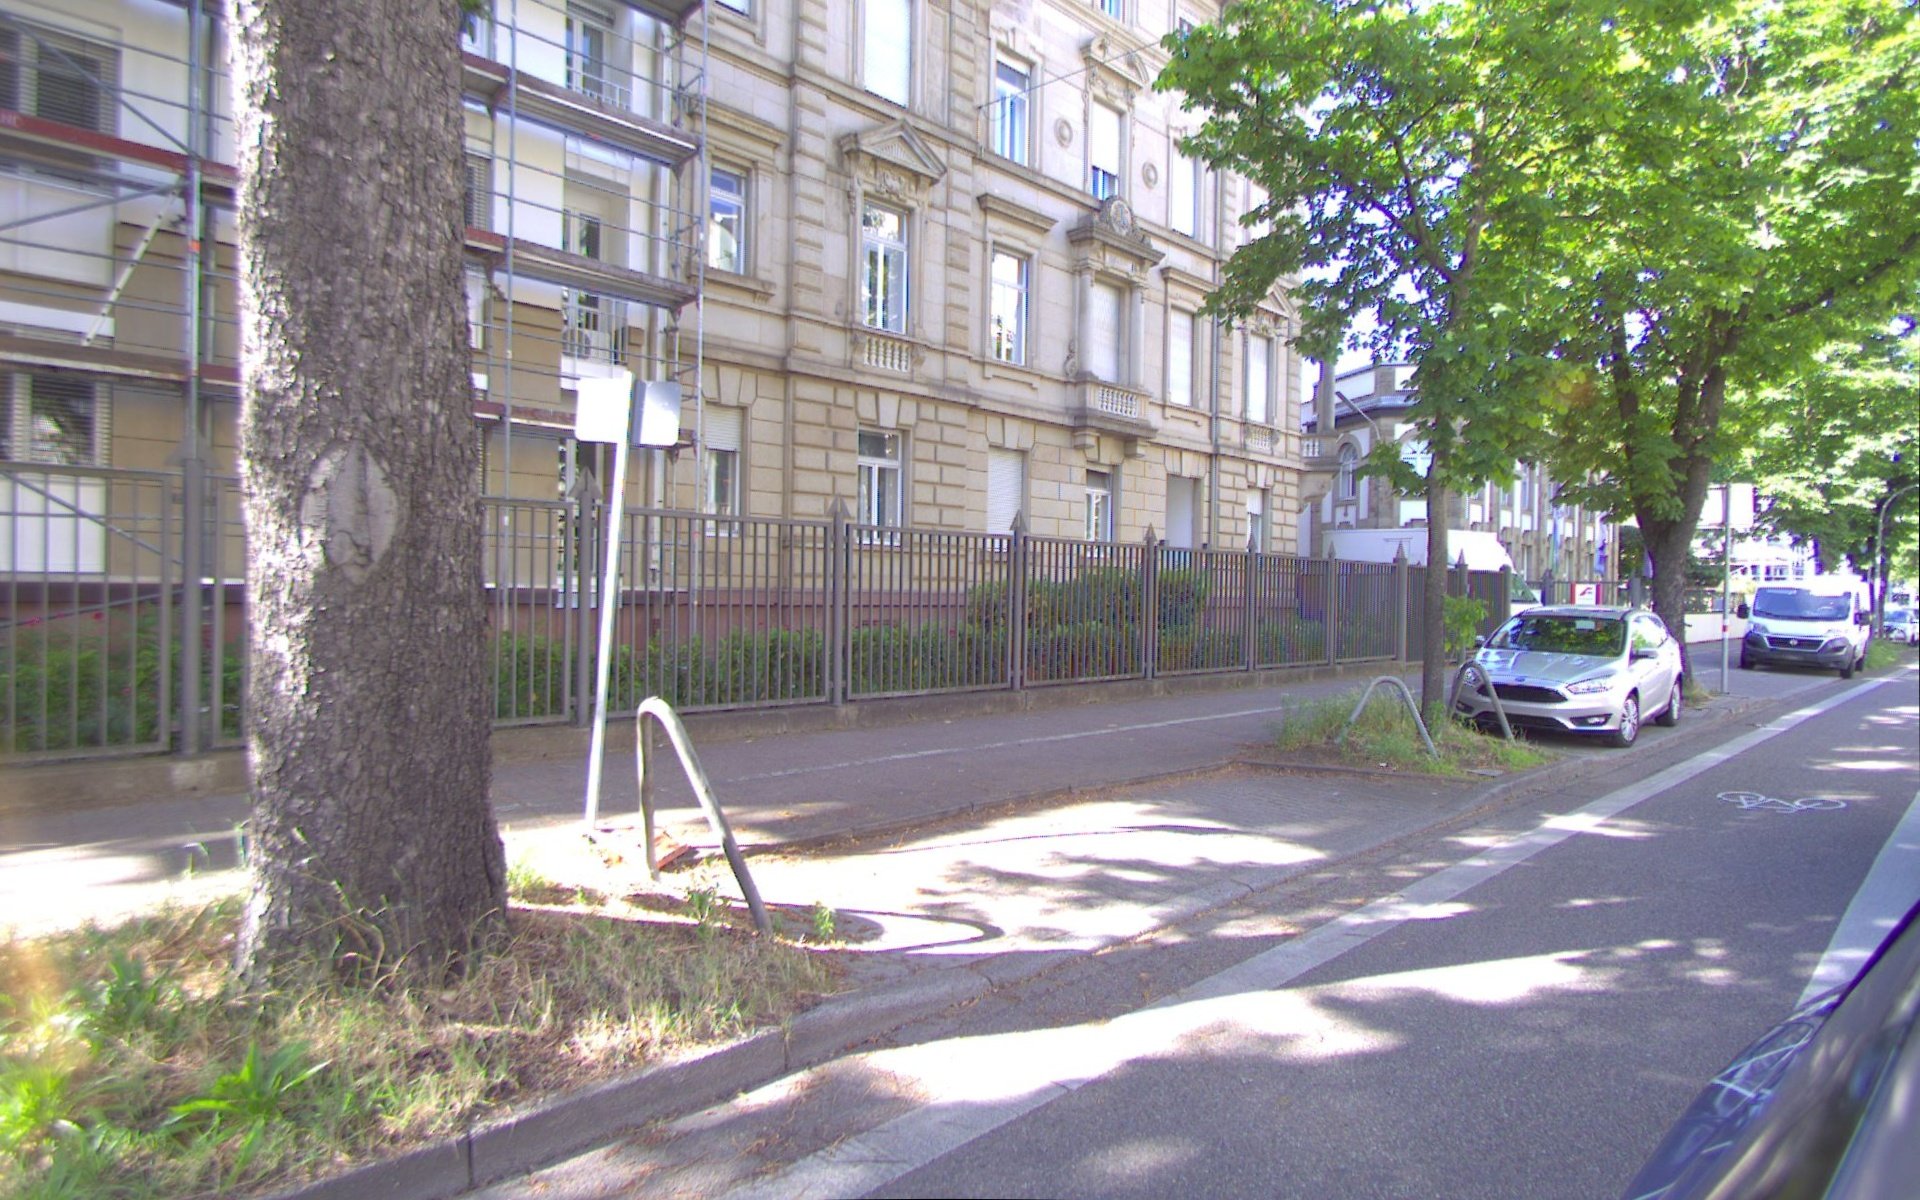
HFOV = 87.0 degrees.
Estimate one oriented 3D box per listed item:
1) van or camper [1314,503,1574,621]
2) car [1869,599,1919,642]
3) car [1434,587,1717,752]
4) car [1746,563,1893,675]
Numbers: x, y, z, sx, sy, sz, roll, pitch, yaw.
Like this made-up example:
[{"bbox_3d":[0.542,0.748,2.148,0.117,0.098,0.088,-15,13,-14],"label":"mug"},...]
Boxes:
[{"bbox_3d":[12.248,-0.890,26.373,2.078,2.660,6.751,0,0,-17],"label":"van or camper"},{"bbox_3d":[37.430,0.777,40.079,4.035,1.569,1.863,-1,1,-44],"label":"car"},{"bbox_3d":[7.557,0.667,12.243,4.294,1.562,1.874,-1,3,-44],"label":"car"},{"bbox_3d":[20.974,0.353,24.594,5.710,2.371,2.129,-1,3,-44],"label":"car"}]
